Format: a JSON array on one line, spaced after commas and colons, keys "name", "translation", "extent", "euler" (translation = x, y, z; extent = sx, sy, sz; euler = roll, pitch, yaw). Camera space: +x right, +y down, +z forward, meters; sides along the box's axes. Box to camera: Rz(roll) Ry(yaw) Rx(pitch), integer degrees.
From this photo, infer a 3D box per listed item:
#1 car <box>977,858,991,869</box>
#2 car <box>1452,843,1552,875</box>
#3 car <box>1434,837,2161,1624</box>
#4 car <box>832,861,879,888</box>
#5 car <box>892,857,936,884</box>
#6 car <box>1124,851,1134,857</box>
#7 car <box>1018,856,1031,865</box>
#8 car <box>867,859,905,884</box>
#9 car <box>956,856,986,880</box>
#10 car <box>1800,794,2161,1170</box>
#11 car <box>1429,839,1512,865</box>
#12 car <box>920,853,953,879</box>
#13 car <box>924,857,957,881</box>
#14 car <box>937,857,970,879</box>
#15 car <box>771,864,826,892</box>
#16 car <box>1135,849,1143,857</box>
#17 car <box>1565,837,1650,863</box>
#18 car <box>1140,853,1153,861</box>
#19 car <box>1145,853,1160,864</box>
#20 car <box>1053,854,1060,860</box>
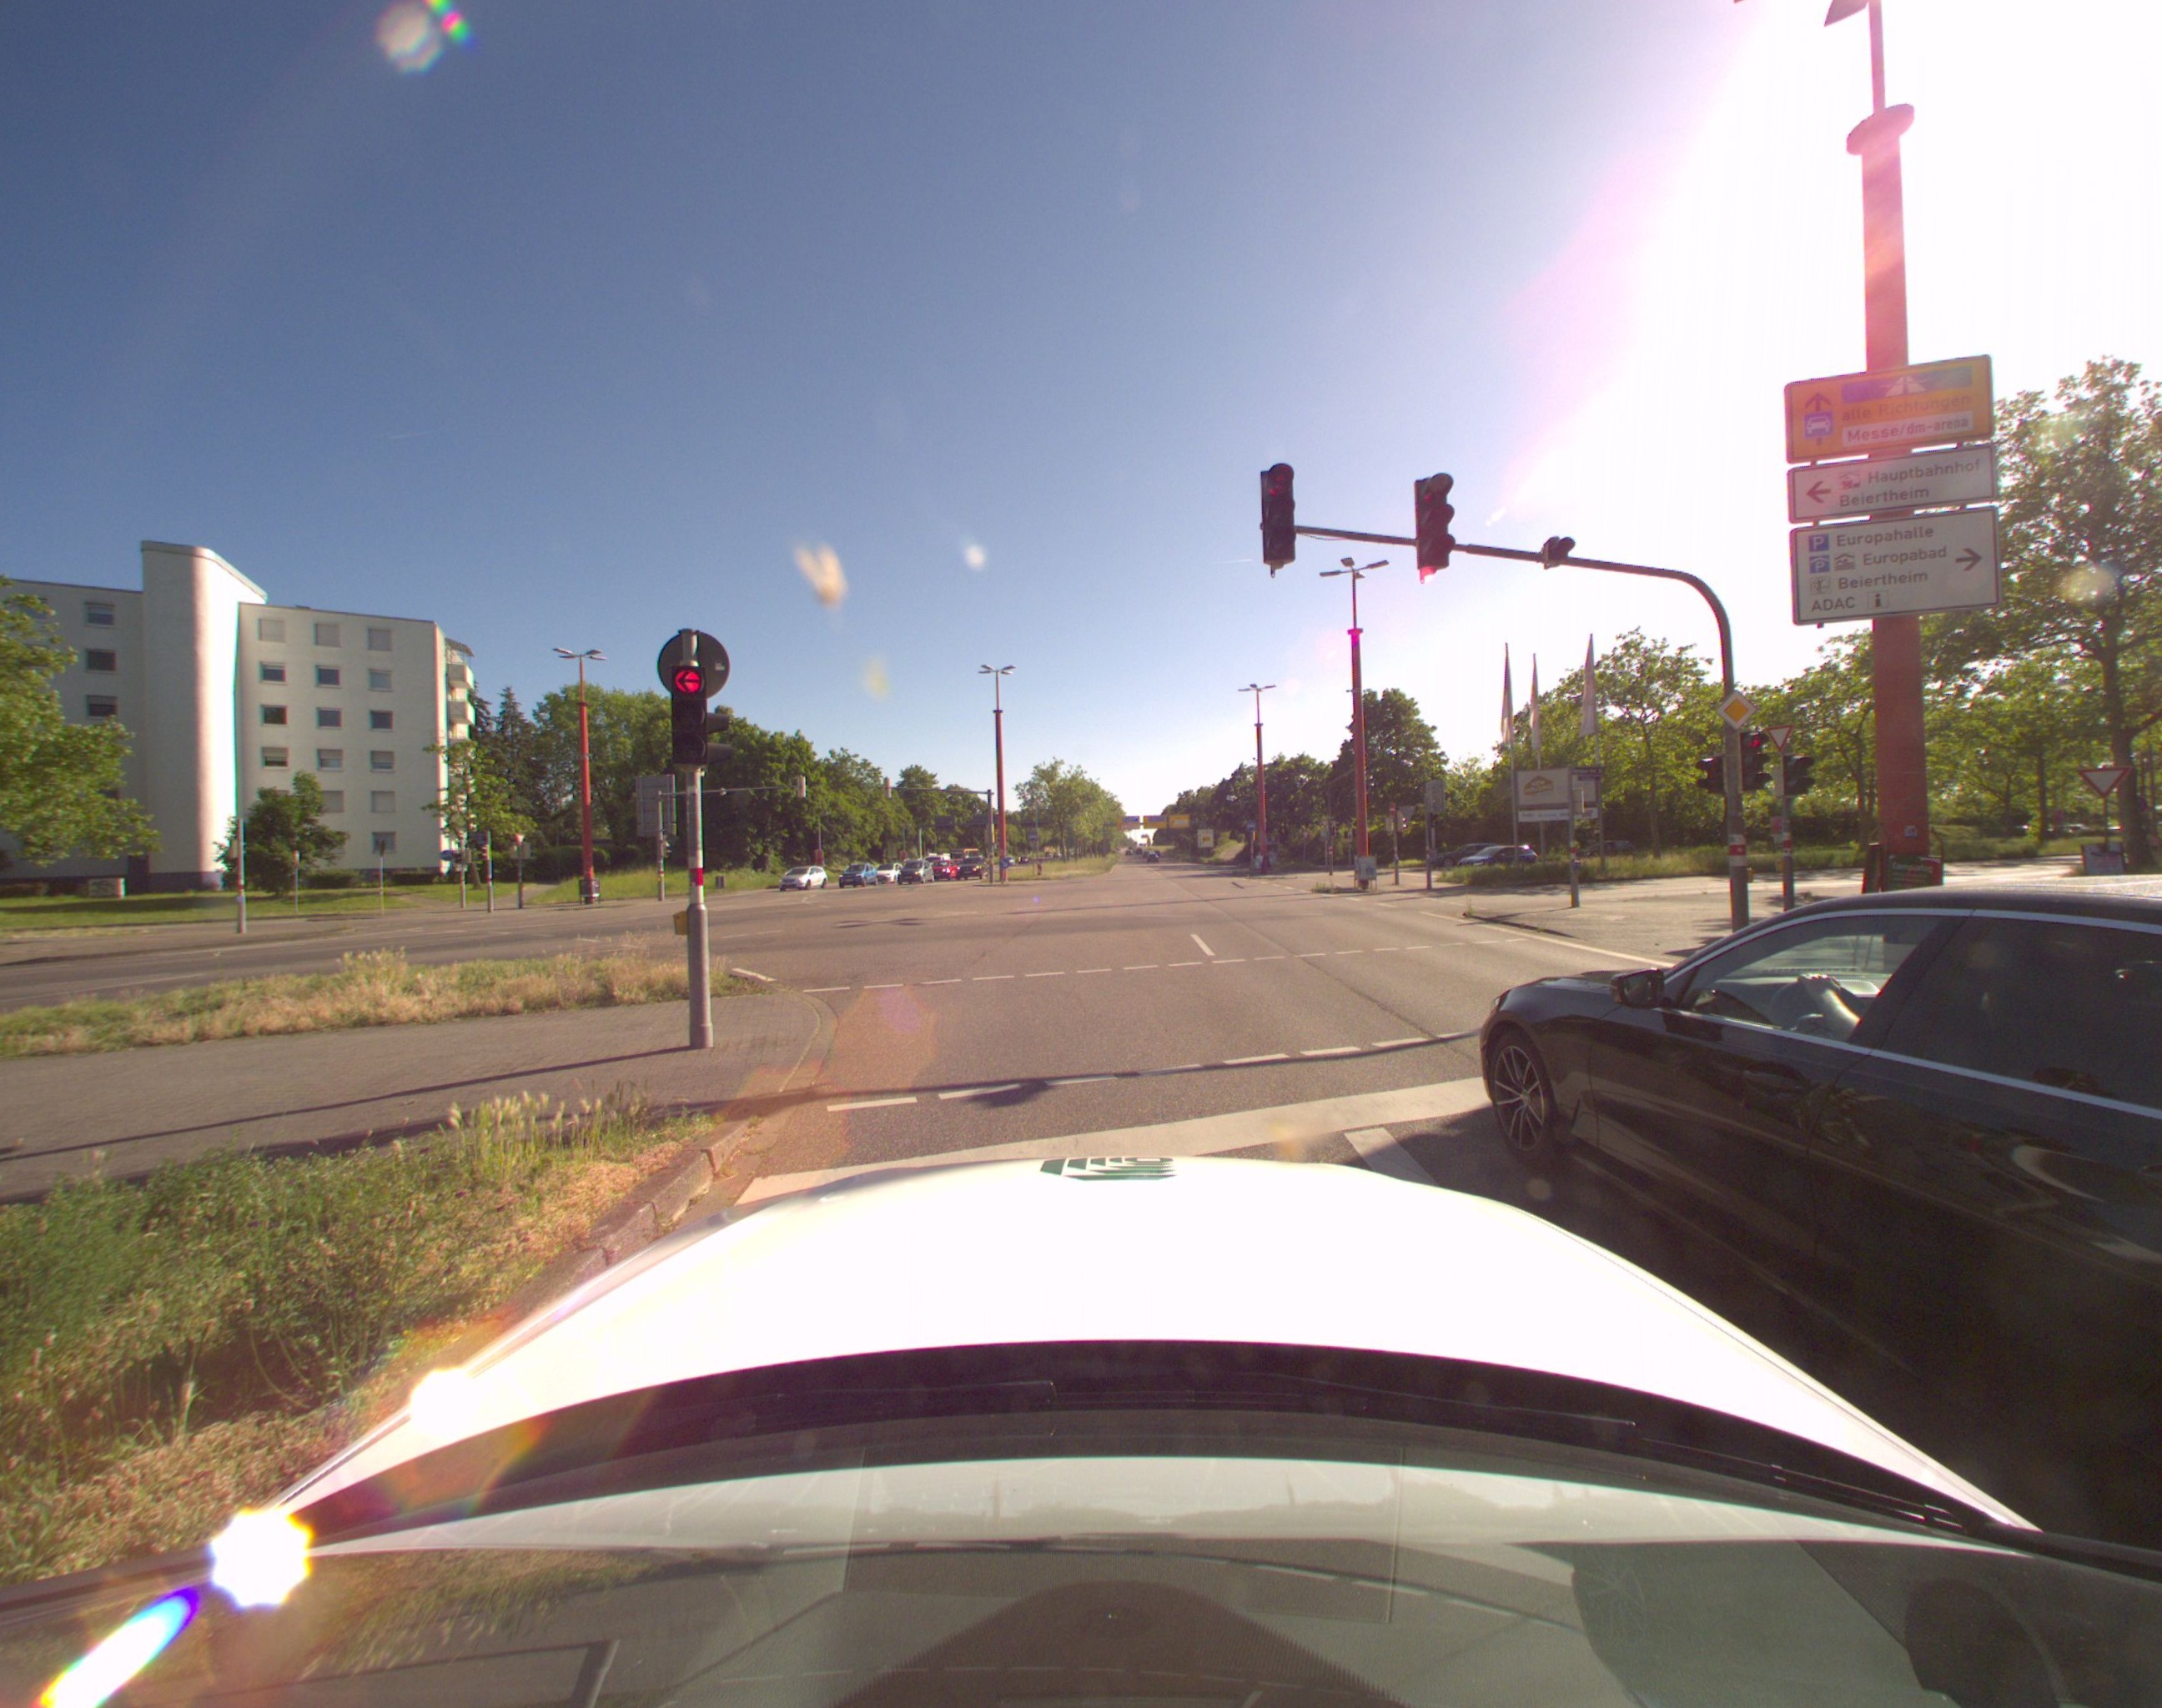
[{"name": "car", "translation": [-14.937, 1.499, 125.515], "extent": [1.872, 1.573, 4.117], "euler": [-2, 0, -2]}, {"name": "car", "translation": [20.811, 0.231, 40.283], "extent": [4.276, 1.428, 1.874], "euler": [-2, 0, -16]}, {"name": "car", "translation": [2.955, 0.665, 2.383], "extent": [1.986, 1.394, 4.479], "euler": [-2, 0, 2]}, {"name": "car", "translation": [-14.230, 1.282, 51.652], "extent": [1.989, 1.573, 4.116], "euler": [-2, 0, -3]}, {"name": "car", "translation": [-10.726, 1.044, 52.592], "extent": [1.988, 1.573, 4.119], "euler": [-2, 0, -1]}, {"name": "car", "translation": [12.429, -0.041, 210.214], "extent": [2.241, 1.573, 4.276], "euler": [-2, 0, -3]}, {"name": "car", "translation": [-10.734, 1.189, 154.674], "extent": [1.986, 1.573, 4.122], "euler": [-2, 0, 1]}, {"name": "car", "translation": [-13.732, 1.214, 57.535], "extent": [1.991, 1.573, 4.112], "euler": [-3, 0, -6]}, {"name": "car", "translation": [-7.559, 0.937, 56.501], "extent": [1.874, 1.573, 4.112], "euler": [-2, 0, -6]}, {"name": "car", "translation": [5.801, 0.560, 3.271], "extent": [1.959, 1.686, 4.479], "euler": [-1, 0, 2]}, {"name": "car", "translation": [25.987, -0.117, 54.510], "extent": [4.541, 1.573, 2.171], "euler": [-2, 0, 8]}, {"name": "car", "translation": [-12.727, 1.051, 71.998], "extent": [2.055, 2.193, 4.377], "euler": [-2, 0, 0]}, {"name": "car", "translation": [-10.096, 1.044, 58.883], "extent": [1.991, 1.573, 4.112], "euler": [-2, 0, -6]}, {"name": "car", "translation": [-10.058, 1.091, 64.665], "extent": [1.988, 1.573, 4.118], "euler": [-2, 0, -1]}, {"name": "car", "translation": [-17.687, 1.465, 51.193], "extent": [1.987, 1.573, 4.120], "euler": [-2, 0, 0]}, {"name": "car", "translation": [15.943, -0.343, 225.391], "extent": [1.986, 2.013, 4.002], "euler": [-2, 0, 2]}, {"name": "car", "translation": [35.073, -0.282, 54.301], "extent": [4.251, 1.573, 2.167], "euler": [-2, 0, 1]}, {"name": "car", "translation": [13.854, 0.657, 173.068], "extent": [2.153, 1.573, 4.277], "euler": [-2, 0, -2]}, {"name": "car", "translation": [11.299, 0.724, 128.989], "extent": [2.149, 1.573, 4.285], "euler": [-2, 0, 4]}, {"name": "car", "translation": [-6.658, 0.754, 222.357], "extent": [1.872, 1.573, 3.943], "euler": [-2, 0, -2]}]
